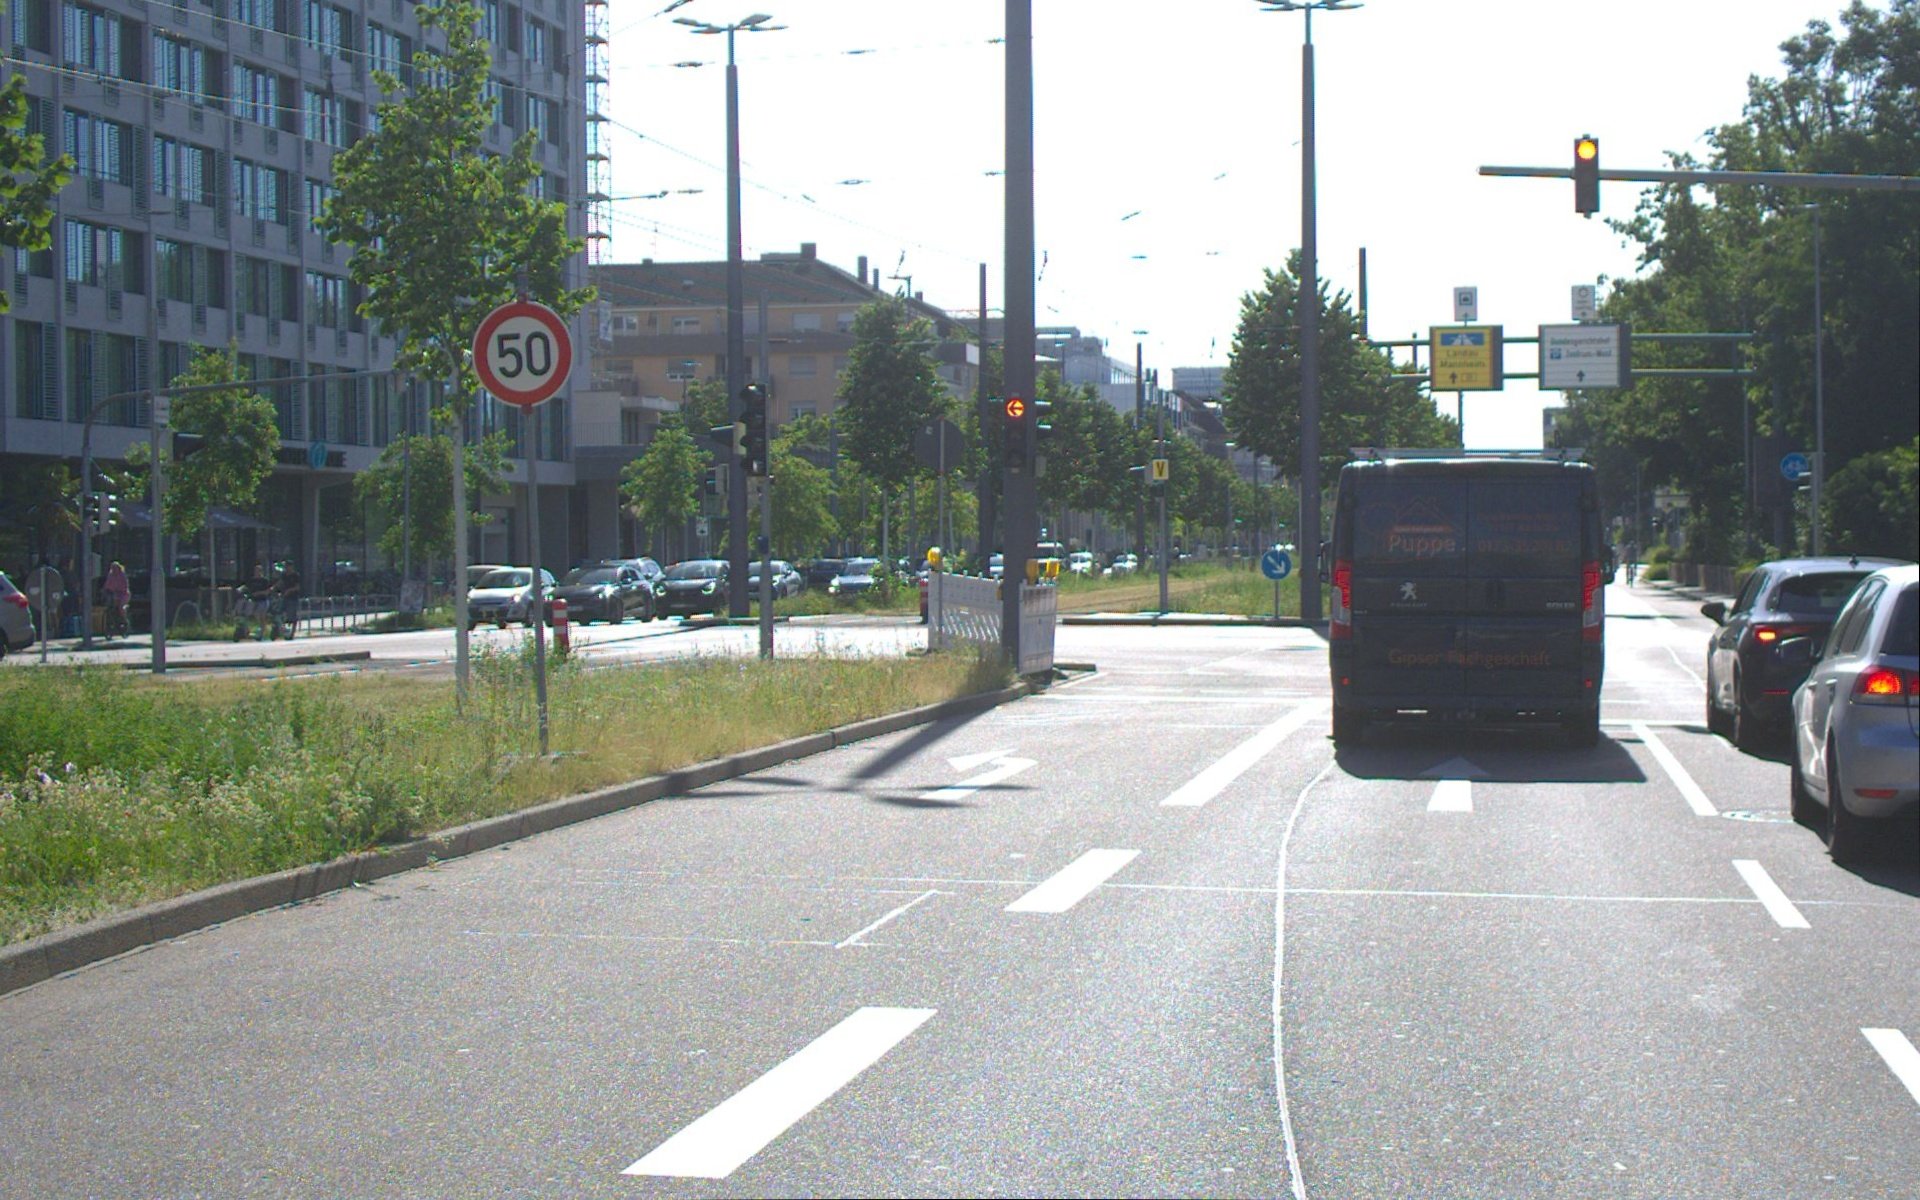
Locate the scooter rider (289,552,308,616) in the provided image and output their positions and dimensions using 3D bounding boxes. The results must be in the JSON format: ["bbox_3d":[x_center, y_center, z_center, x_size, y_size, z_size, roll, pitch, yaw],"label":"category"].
[{"bbox_3d":[-14.938,-0.359,77.658,0.342,1.448,0.239,0,1,10],"label":"scooter rider"}]

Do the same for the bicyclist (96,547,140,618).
[{"bbox_3d":[-19.154,-0.397,78.245,0.594,1.575,0.892,2,0,14],"label":"bicyclist"}]

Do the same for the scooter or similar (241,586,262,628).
[{"bbox_3d":[-16.103,0.147,78.112,0.285,0.944,0.767,0,1,2],"label":"scooter or similar"}]

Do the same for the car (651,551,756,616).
[{"bbox_3d":[-6.704,-0.457,90.105,1.791,1.645,3.998,0,1,10],"label":"car"}]

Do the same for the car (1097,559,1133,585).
[{"bbox_3d":[10.030,-1.796,222.583,1.791,1.645,3.998,0,1,10],"label":"car"}]

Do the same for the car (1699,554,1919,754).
[{"bbox_3d":[6.826,0.376,26.799,1.792,1.423,3.849,1,1,8],"label":"car"}]

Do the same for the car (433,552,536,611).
[{"bbox_3d":[-13.721,-0.557,99.367,1.791,1.645,3.998,0,1,10],"label":"car"}]

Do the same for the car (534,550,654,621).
[{"bbox_3d":[-8.723,-0.357,82.246,1.791,1.645,3.998,0,1,10],"label":"car"}]

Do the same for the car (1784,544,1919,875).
[{"bbox_3d":[5.296,0.488,17.802,1.750,1.522,4.003,1,1,10],"label":"car"}]

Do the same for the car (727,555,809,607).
[{"bbox_3d":[-6.242,-0.636,112.103,1.791,1.645,3.998,0,1,10],"label":"car"}]

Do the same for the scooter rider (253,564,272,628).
[{"bbox_3d":[-15.838,-0.099,78.016,0.342,1.448,0.239,0,1,10],"label":"scooter rider"}]

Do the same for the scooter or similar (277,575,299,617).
[{"bbox_3d":[-15.176,-0.099,77.622,0.228,0.944,0.767,0,1,10],"label":"scooter or similar"}]

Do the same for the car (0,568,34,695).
[{"bbox_3d":[-15.562,0.464,48.291,4.513,1.786,2.000,-1,1,-37],"label":"car"}]

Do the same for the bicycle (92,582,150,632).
[{"bbox_3d":[-19.080,0.152,78.194,0.587,1.096,1.621,2,1,14],"label":"bicycle"}]

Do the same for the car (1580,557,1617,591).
[{"bbox_3d":[35.480,-1.441,191.046,1.792,1.867,3.849,1,1,8],"label":"car"}]

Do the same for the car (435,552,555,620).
[{"bbox_3d":[-11.459,-0.367,84.994,1.791,1.645,3.998,0,1,10],"label":"car"}]

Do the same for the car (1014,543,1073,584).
[{"bbox_3d":[3.437,-1.490,140.322,1.791,1.645,3.998,0,1,10],"label":"car"}]

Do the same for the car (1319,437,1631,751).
[{"bbox_3d":[4.101,-0.104,27.445,2.219,2.259,4.483,1,2,9],"label":"car"}]
